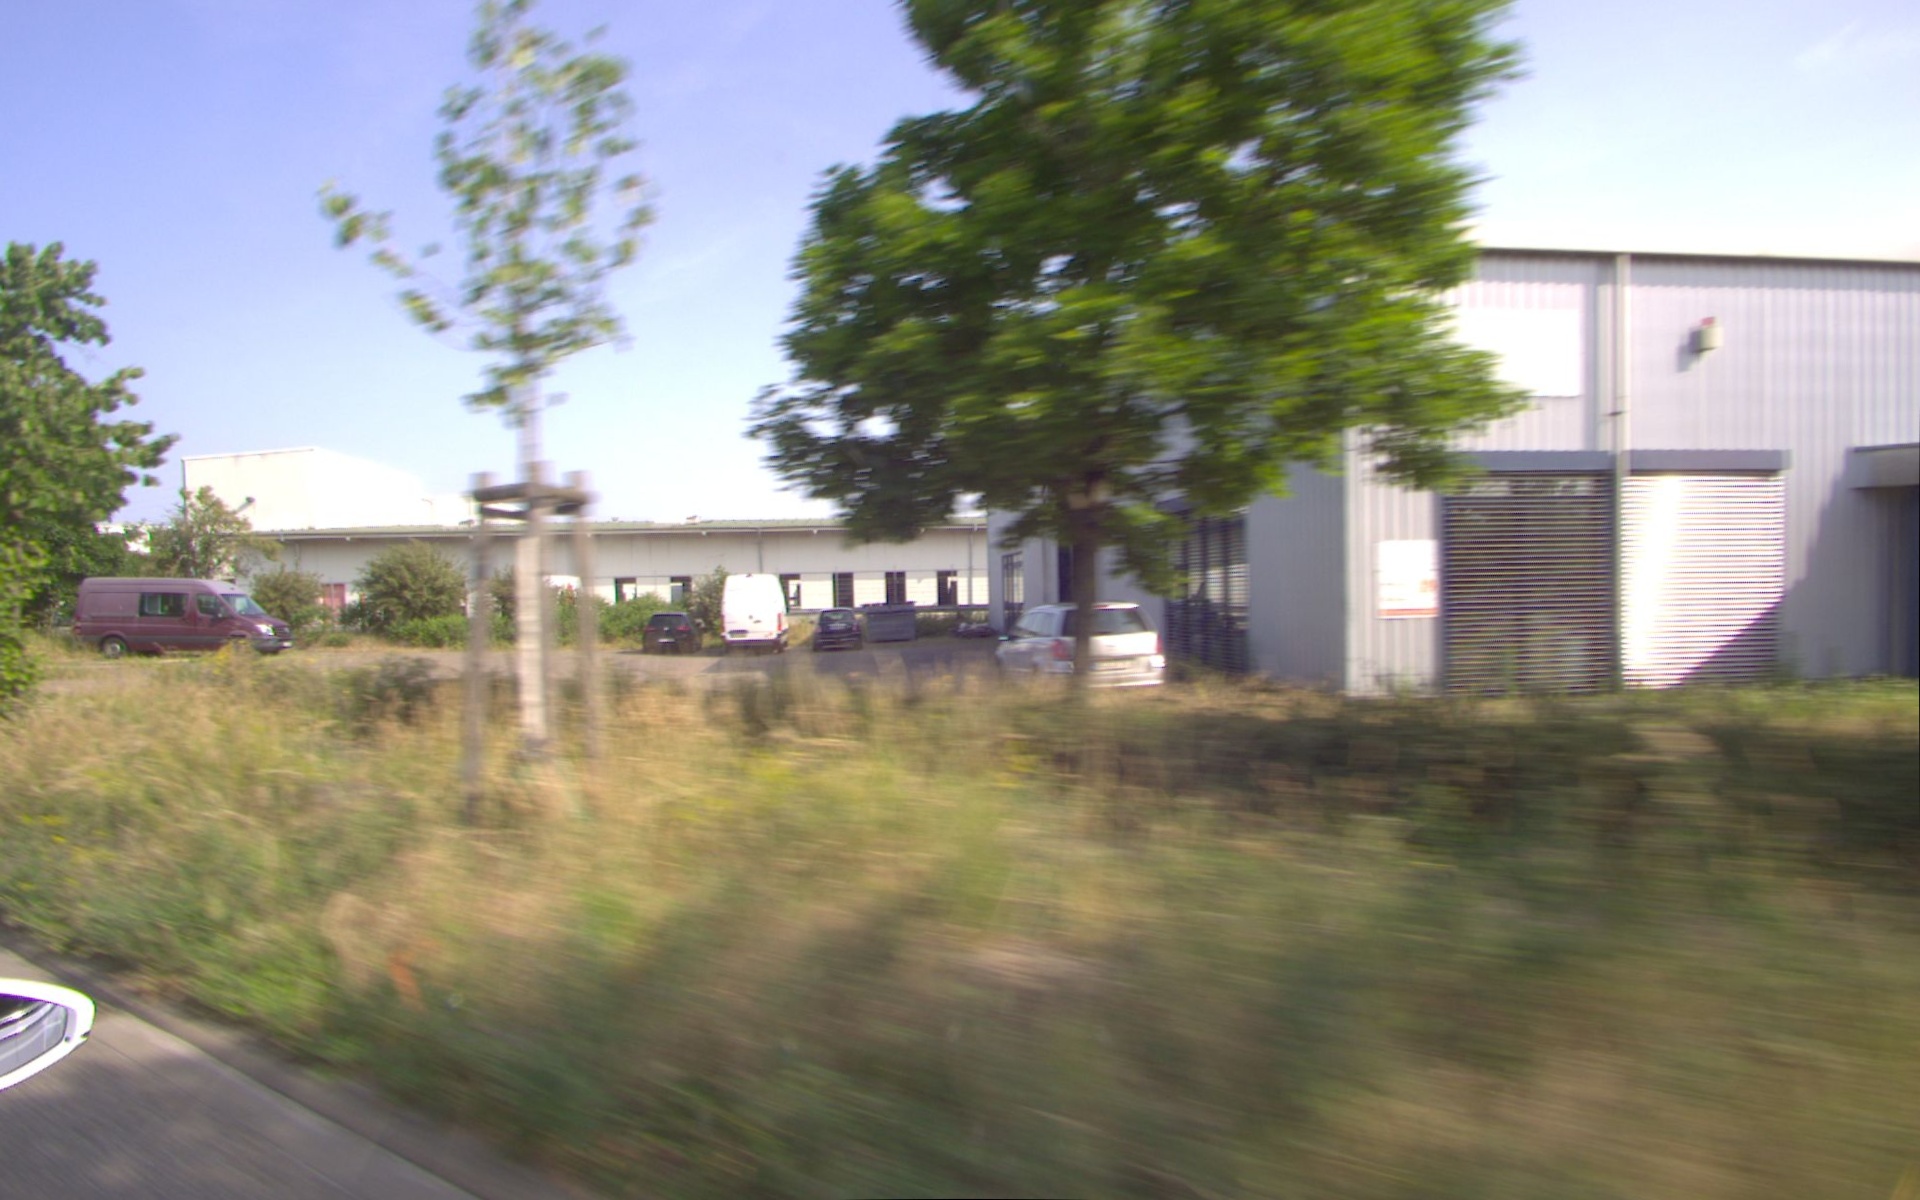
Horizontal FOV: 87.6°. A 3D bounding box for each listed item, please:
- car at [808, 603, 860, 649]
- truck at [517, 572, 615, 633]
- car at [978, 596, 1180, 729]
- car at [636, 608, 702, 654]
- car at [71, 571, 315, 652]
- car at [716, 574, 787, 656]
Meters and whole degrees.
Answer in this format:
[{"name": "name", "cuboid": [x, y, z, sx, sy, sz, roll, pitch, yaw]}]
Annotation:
[{"name": "car", "cuboid": [-4.350, 0.897, 34.315, 1.671, 1.490, 3.440, 0, -2, -8]}, {"name": "truck", "cuboid": [-20.627, 0.206, 52.925, 2.737, 2.877, 8.758, -1, -1, -8]}, {"name": "car", "cuboid": [1.616, 0.798, 15.211, 1.726, 1.583, 4.354, -4, 1, -11]}, {"name": "car", "cuboid": [-10.272, 1.048, 35.571, 1.726, 1.491, 3.728, 0, 1, -8]}, {"name": "car", "cuboid": [-25.365, 0.427, 33.394, 5.933, 2.557, 2.575, 0, -2, -9]}, {"name": "car", "cuboid": [-7.222, 0.513, 35.273, 1.969, 2.558, 6.557, -1, 0, -8]}]
